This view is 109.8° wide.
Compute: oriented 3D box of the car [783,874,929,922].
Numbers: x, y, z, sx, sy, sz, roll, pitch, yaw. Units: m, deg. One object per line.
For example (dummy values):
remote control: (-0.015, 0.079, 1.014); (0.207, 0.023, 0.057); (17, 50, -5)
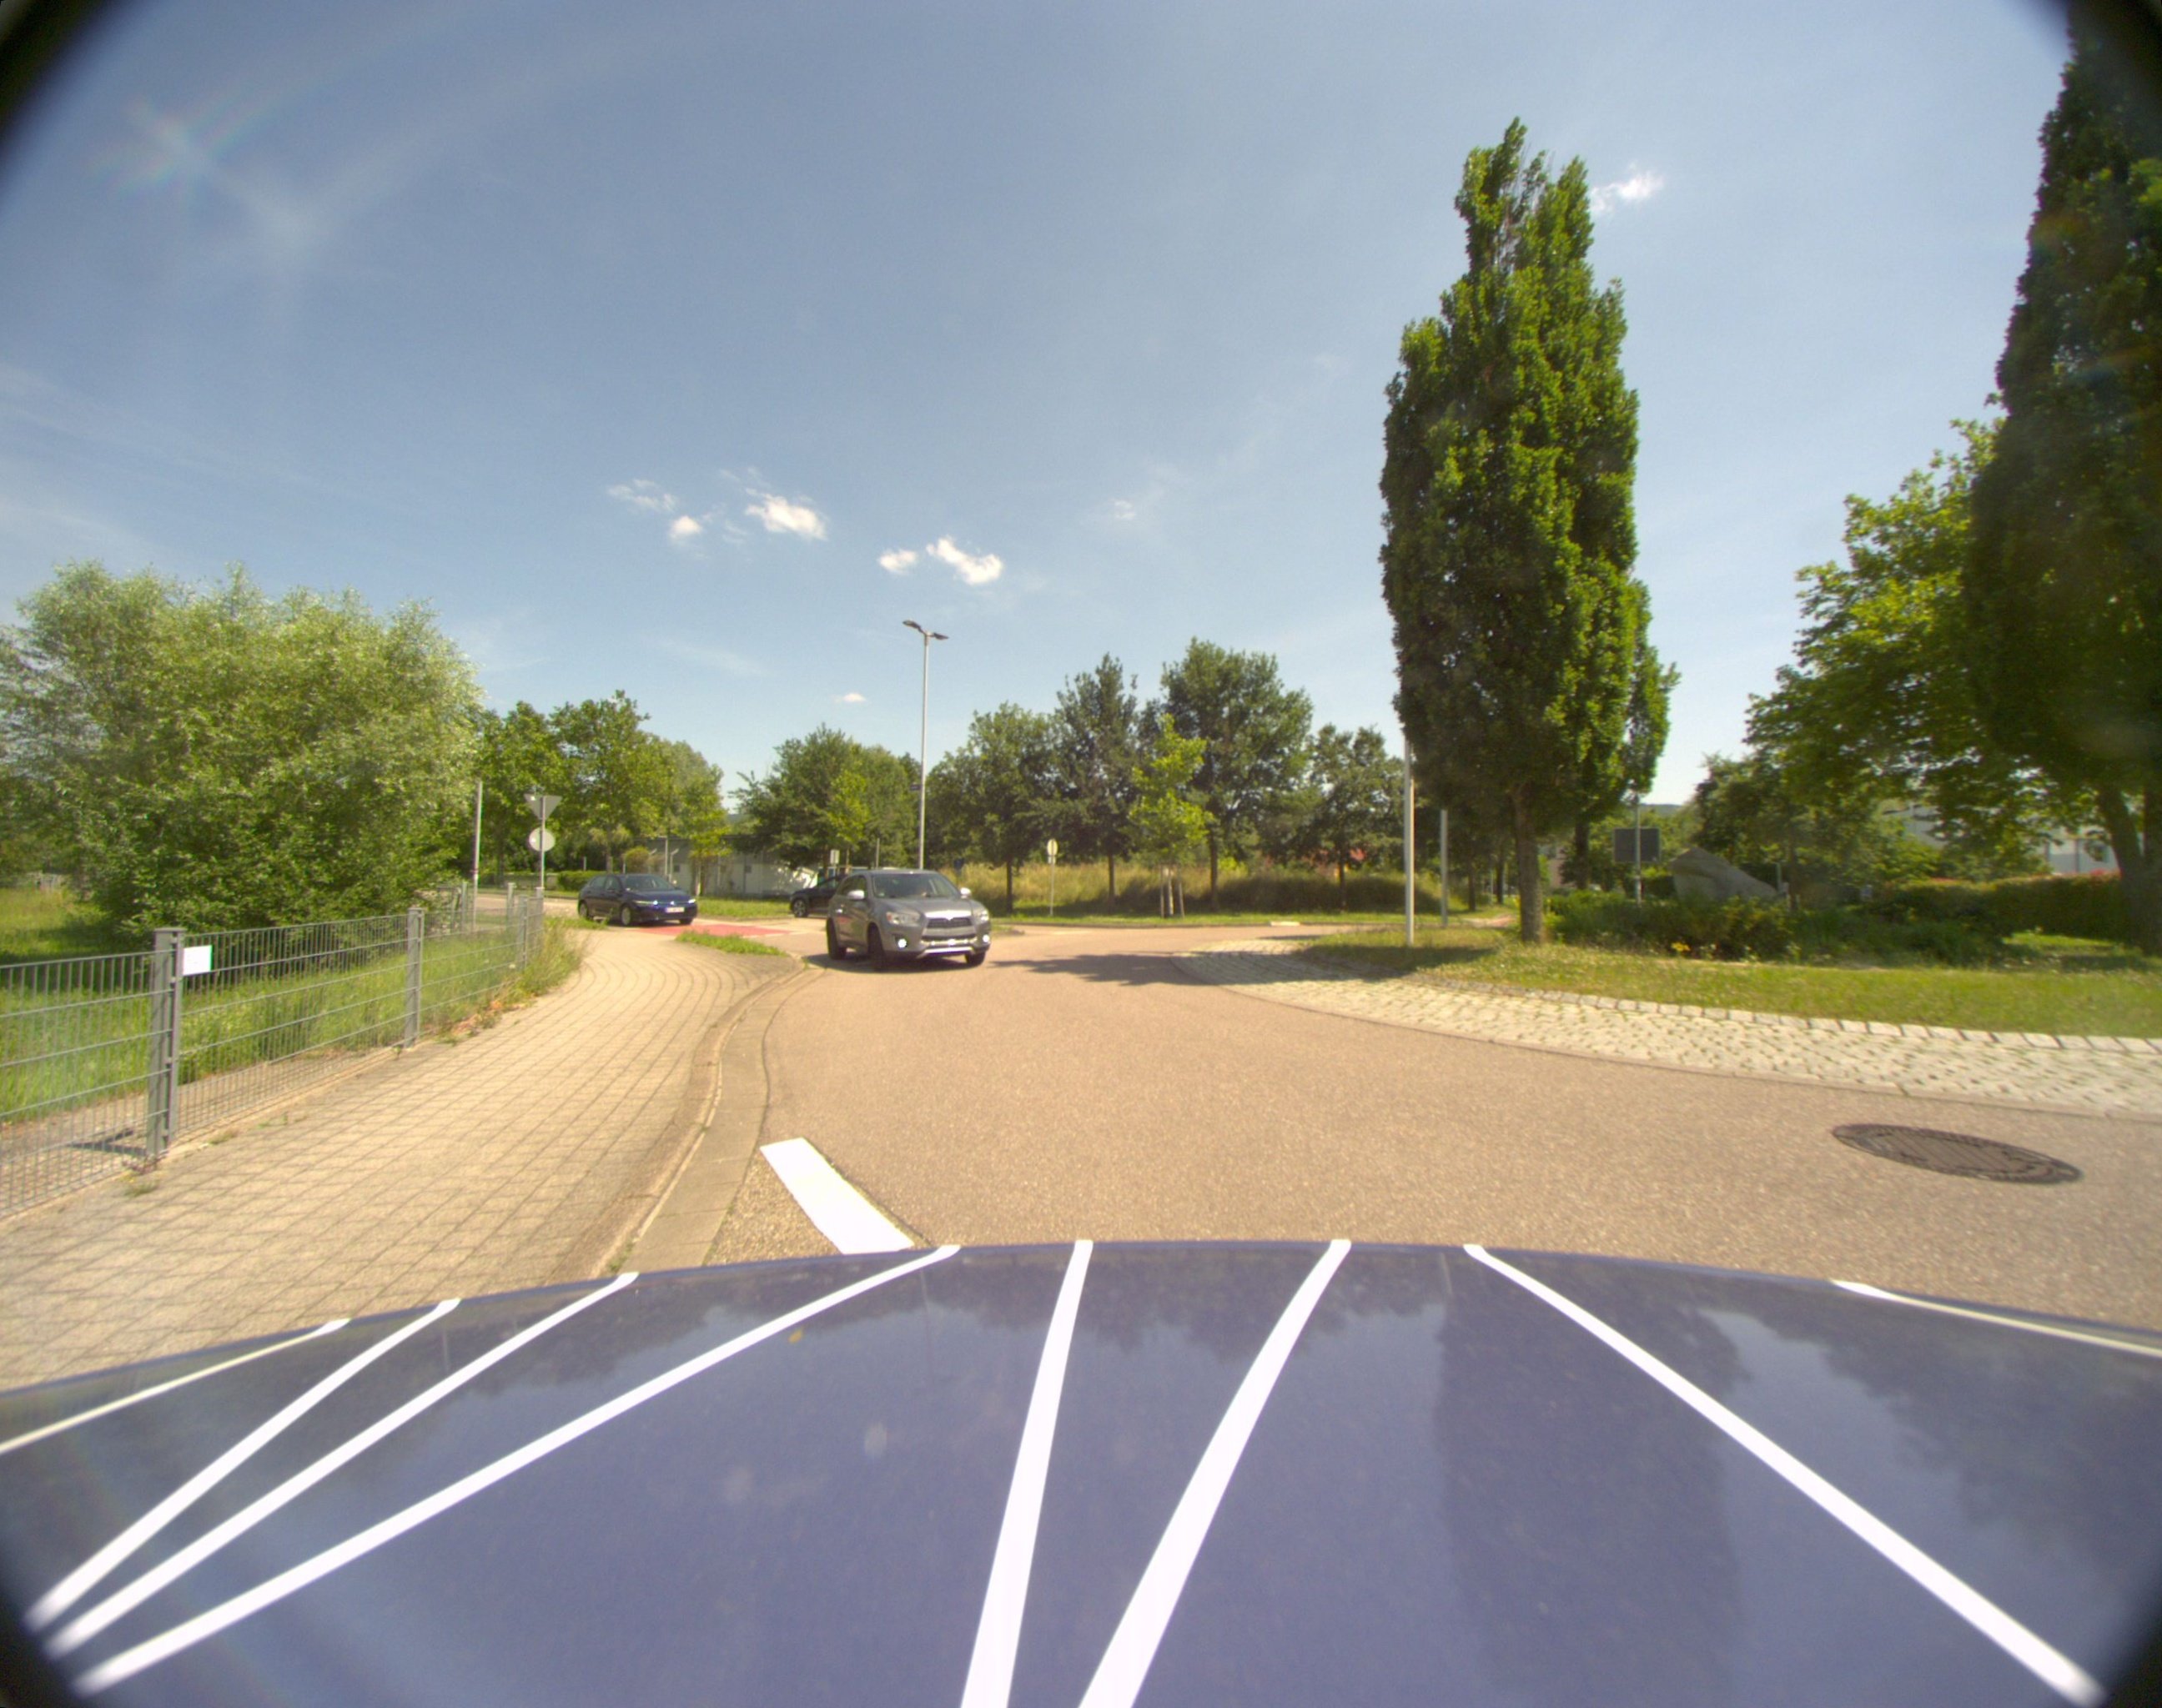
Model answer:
car: (-7.737, 1.489, 26.204); (4.478, 1.559, 1.869); (0, -2, 15)

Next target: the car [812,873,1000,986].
car: (-3.167, 1.117, 12.972); (1.754, 1.524, 4.513); (1, -1, -31)

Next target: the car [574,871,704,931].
car: (-12.712, 1.273, 21.776); (4.119, 1.530, 1.799); (-1, -1, 38)
